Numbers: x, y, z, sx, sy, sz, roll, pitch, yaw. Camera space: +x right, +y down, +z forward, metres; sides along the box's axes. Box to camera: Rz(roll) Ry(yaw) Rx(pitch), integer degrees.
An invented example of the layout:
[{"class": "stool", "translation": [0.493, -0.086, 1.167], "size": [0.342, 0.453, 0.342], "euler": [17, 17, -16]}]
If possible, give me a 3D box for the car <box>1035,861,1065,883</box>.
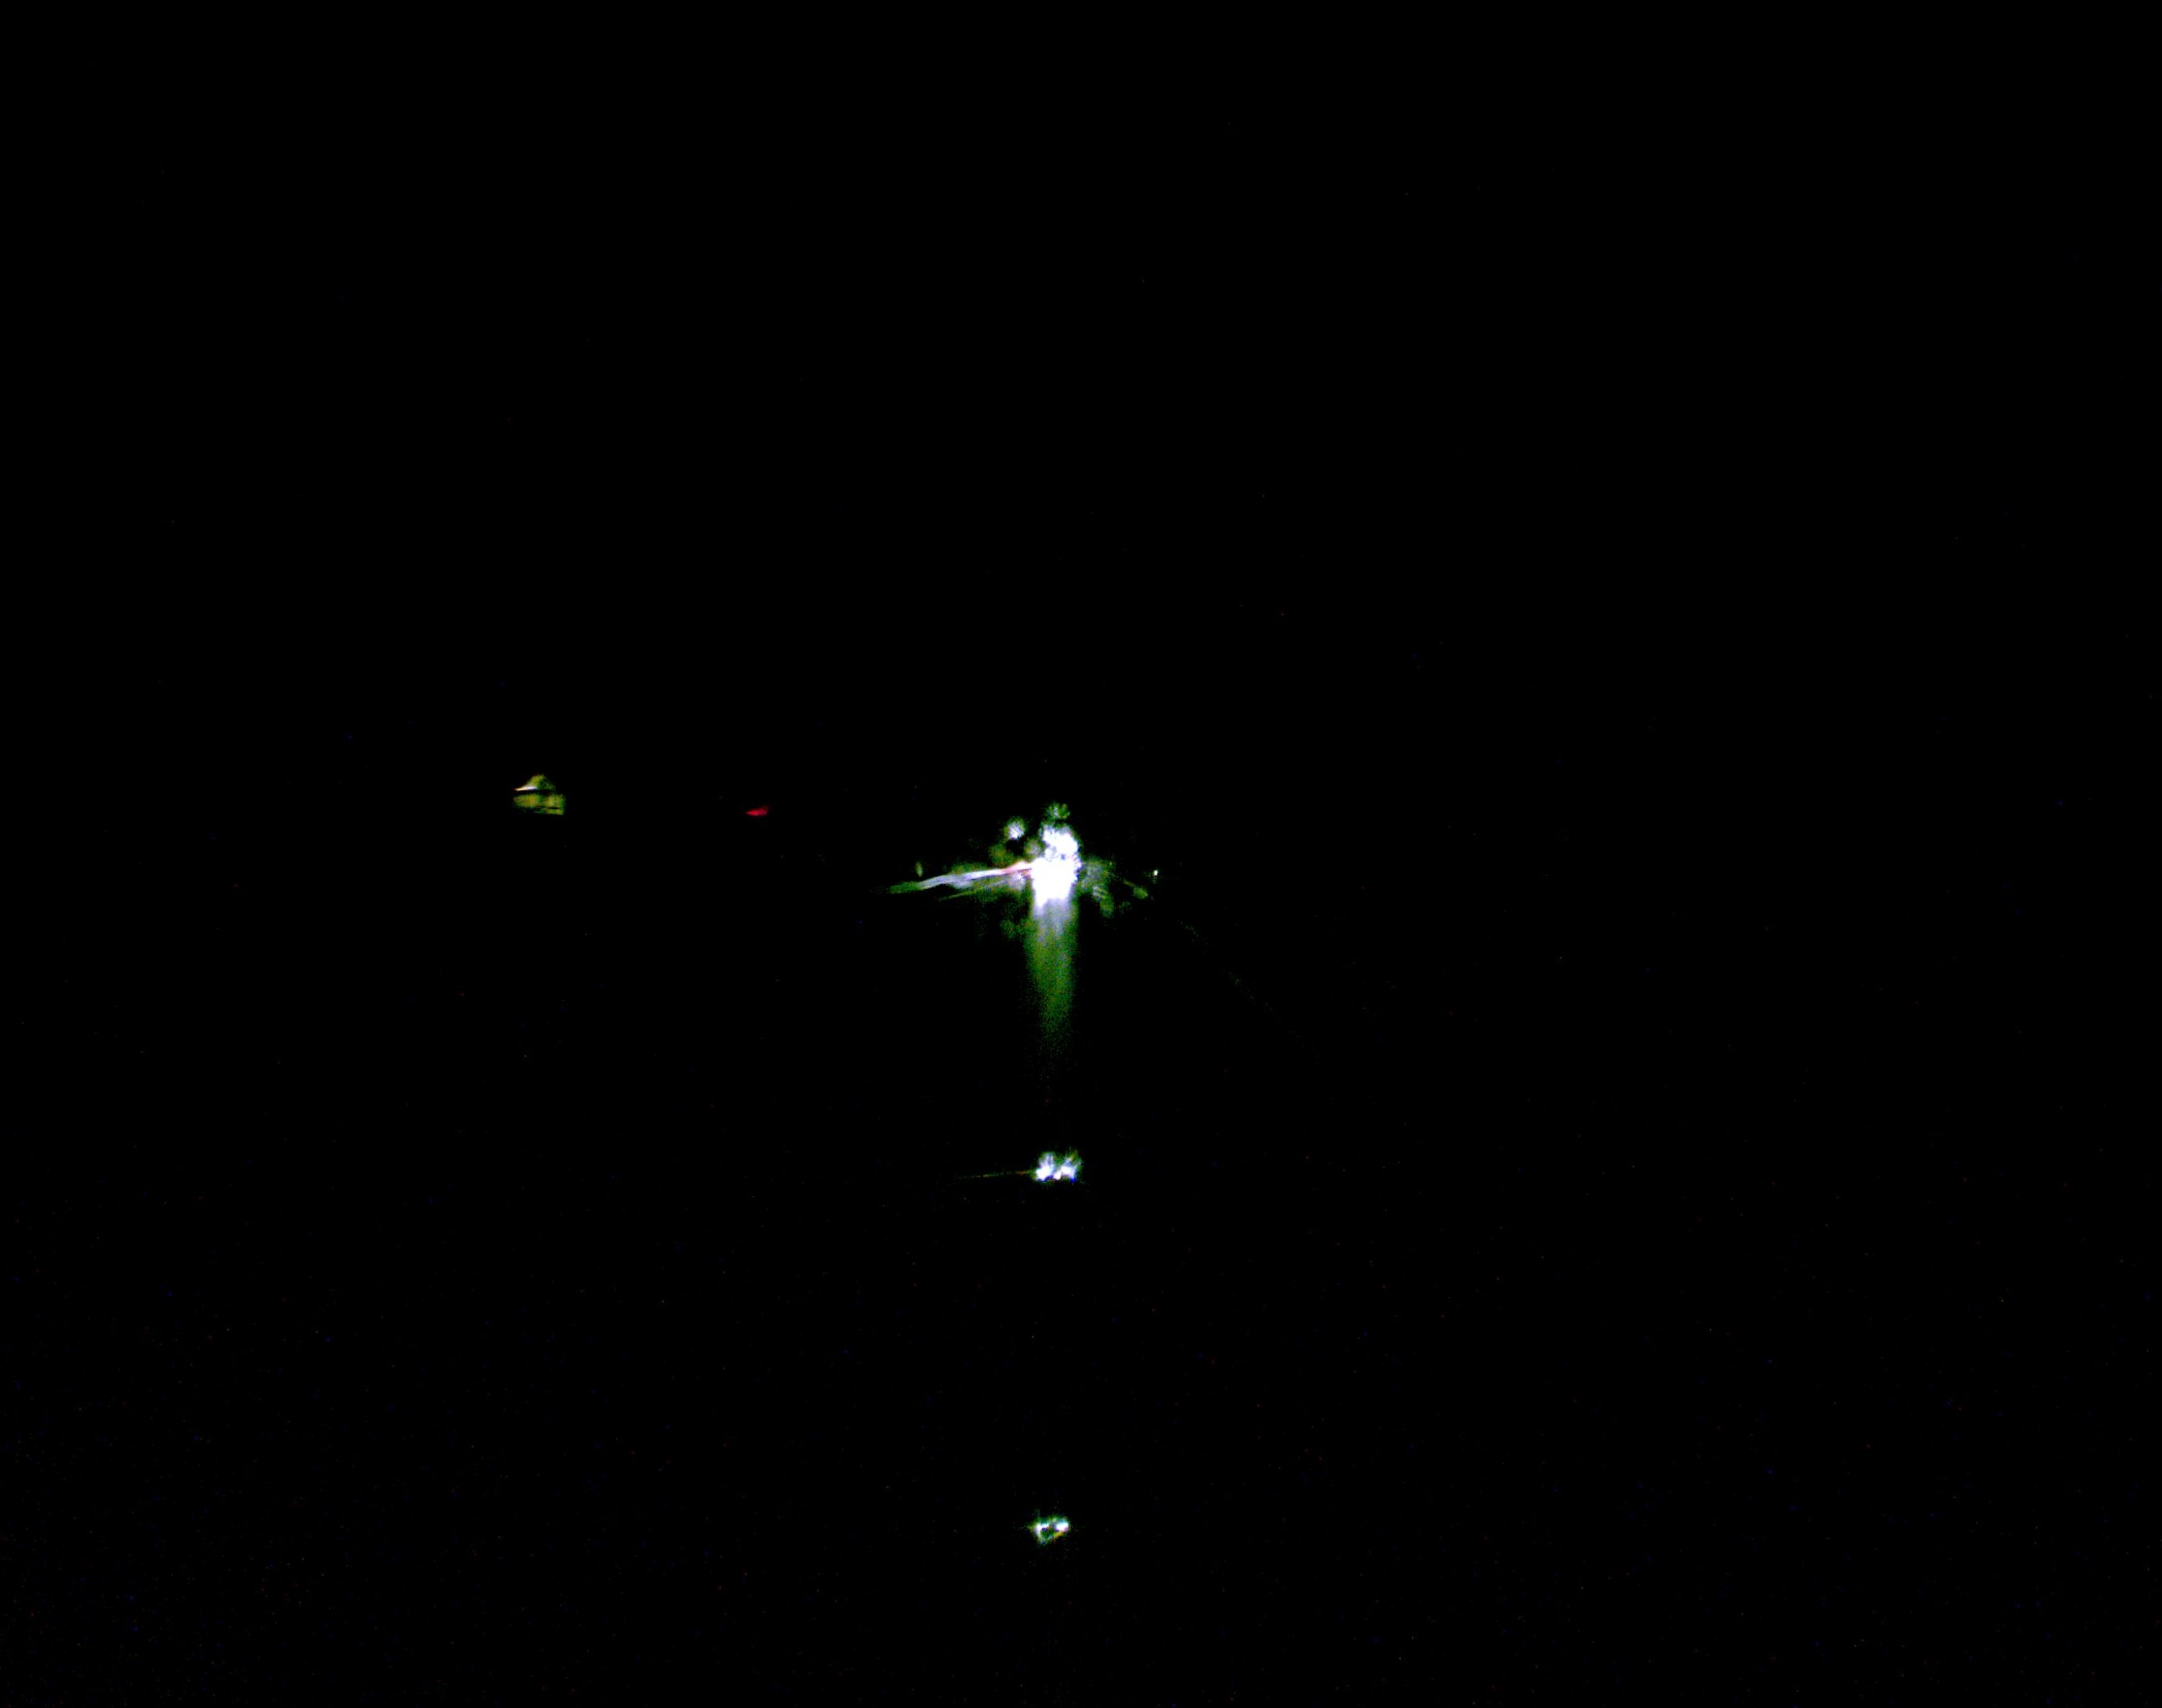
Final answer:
[{"class": "car", "translation": [-2.331, 1.365, 61.870], "size": [1.986, 1.500, 4.001], "euler": [-1, 1, 1]}]
